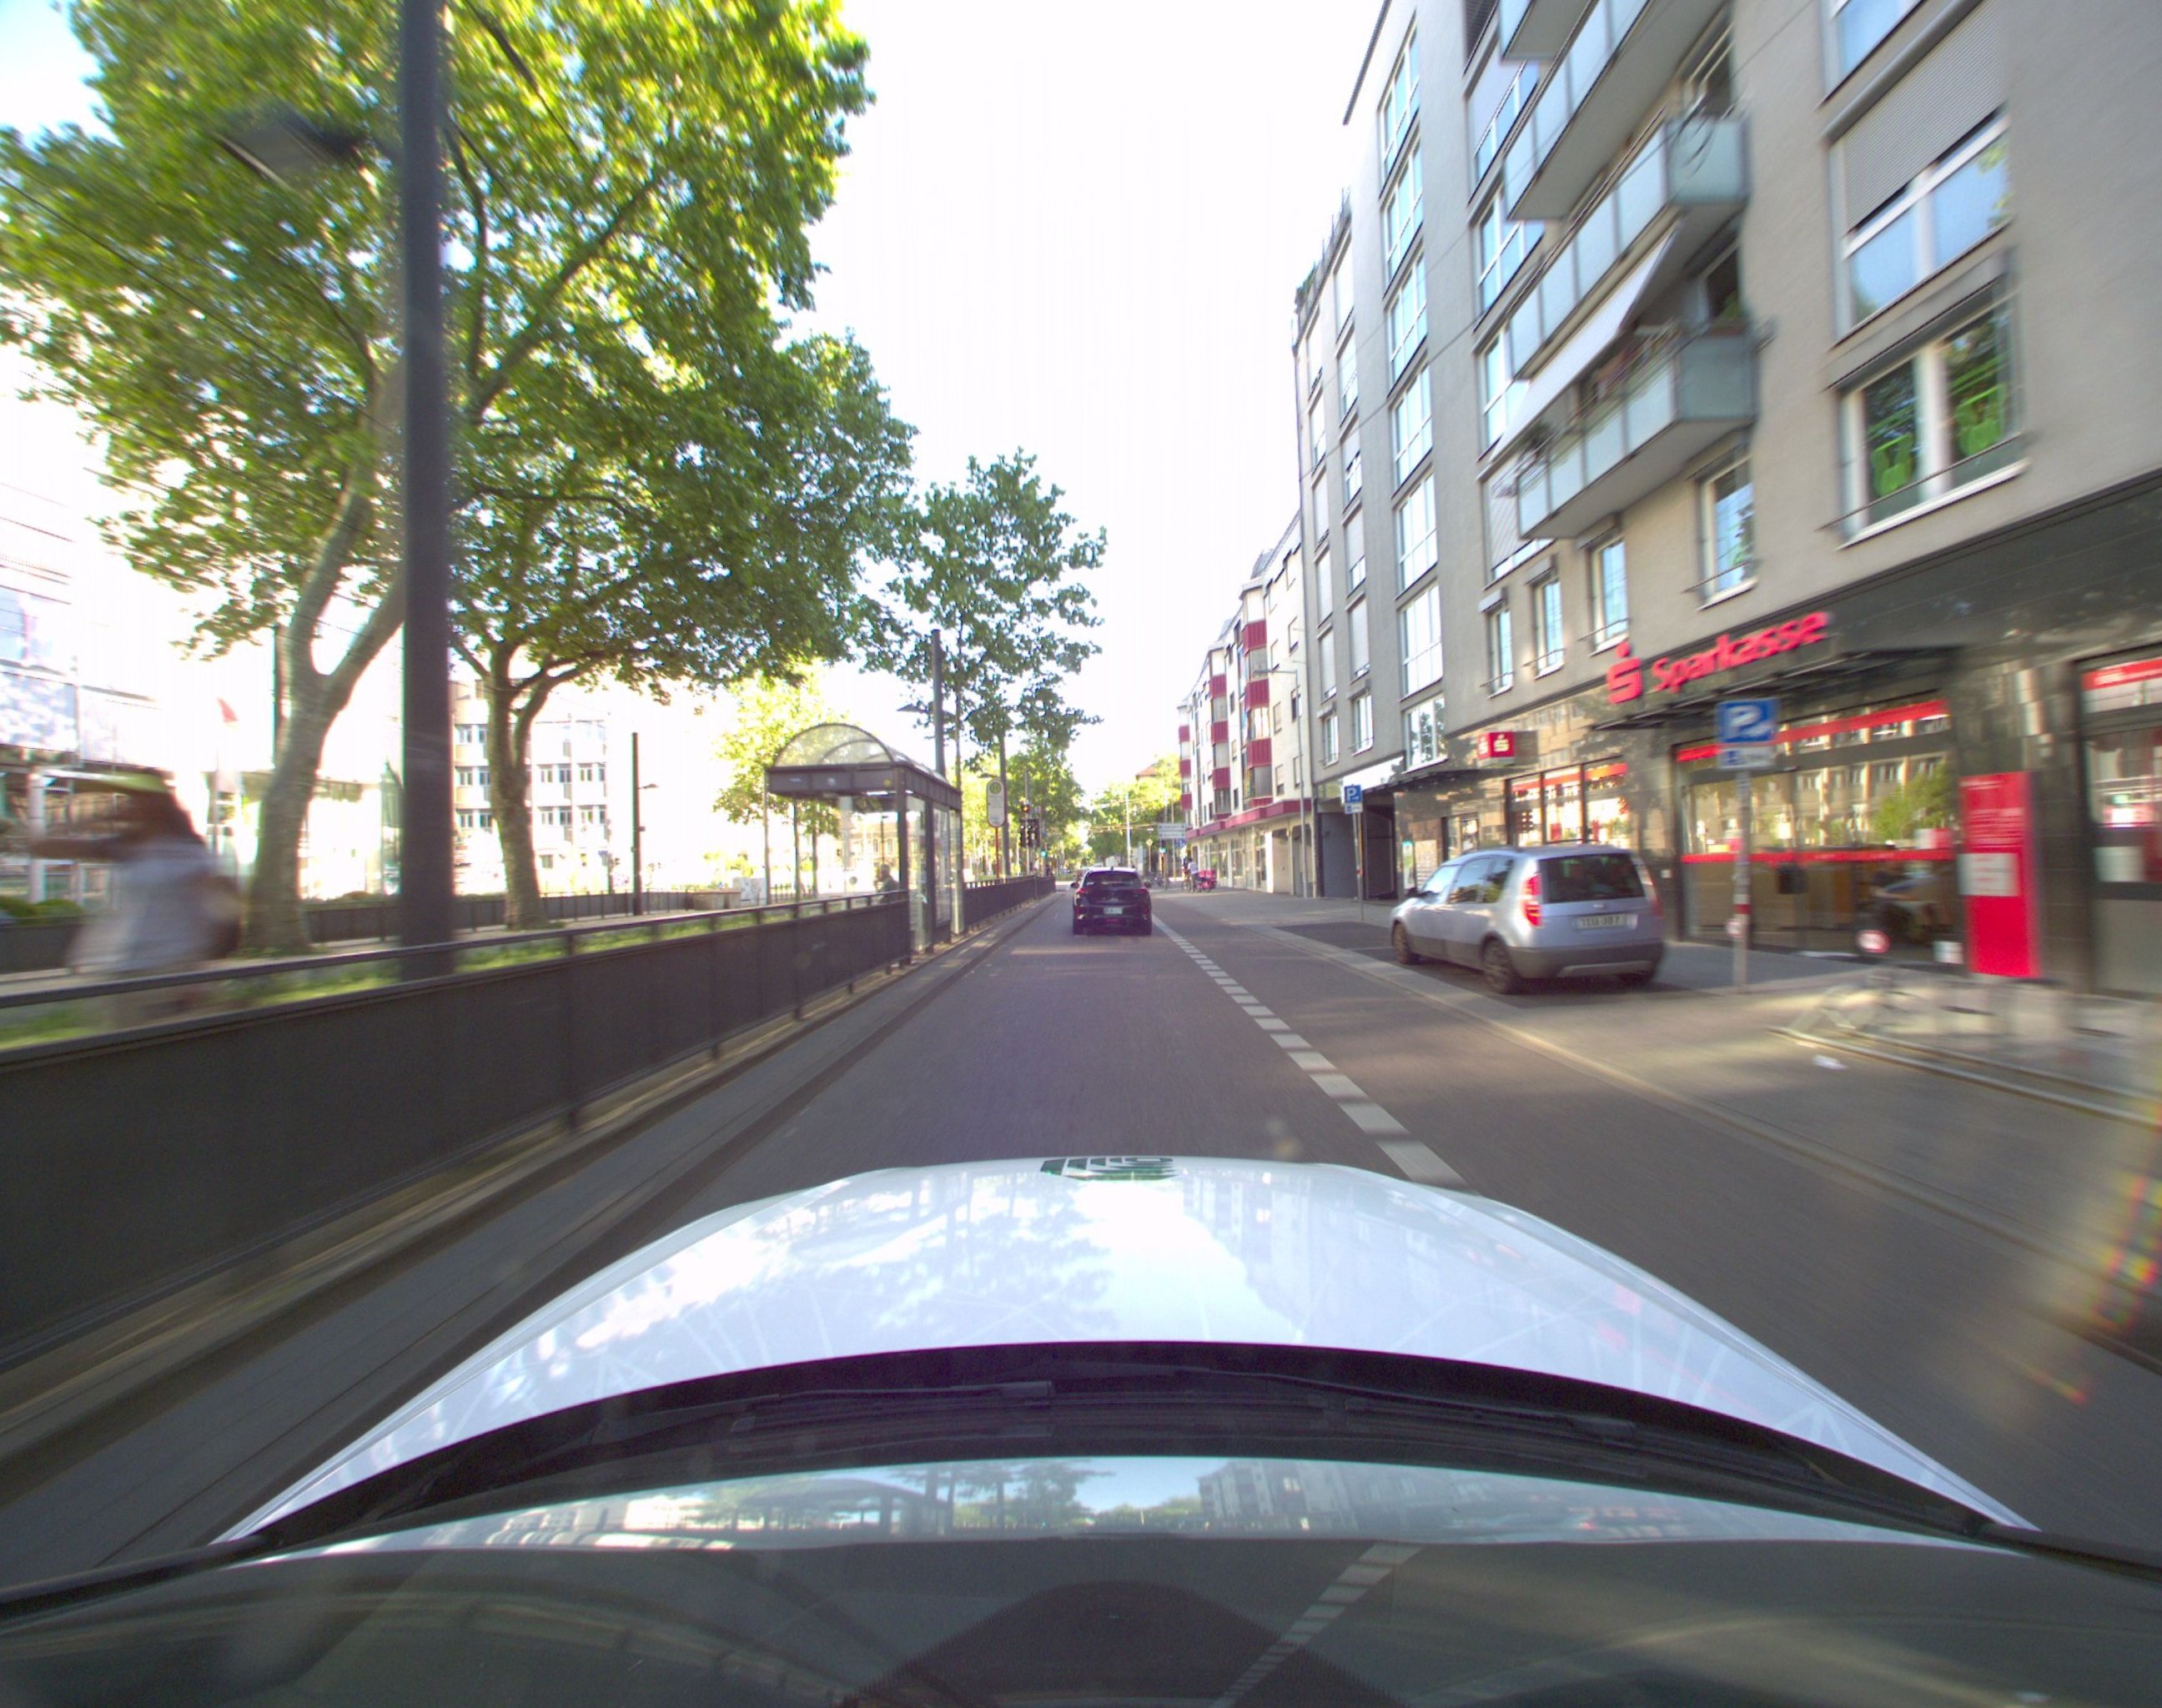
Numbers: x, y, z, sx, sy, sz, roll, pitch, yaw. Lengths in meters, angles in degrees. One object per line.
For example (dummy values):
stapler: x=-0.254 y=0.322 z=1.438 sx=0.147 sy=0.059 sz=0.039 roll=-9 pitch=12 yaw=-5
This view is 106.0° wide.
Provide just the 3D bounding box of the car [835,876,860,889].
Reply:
car: x=-33.598 y=4.111 z=117.453 sx=1.984 sy=1.703 sz=4.383 roll=-2 pitch=-1 yaw=5

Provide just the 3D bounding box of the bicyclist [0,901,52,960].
bicyclist: x=-24.183 y=1.707 z=18.031 sx=1.001 sy=1.250 sz=1.373 roll=0 pitch=-1 yaw=-2

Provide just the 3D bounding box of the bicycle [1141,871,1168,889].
bicycle: x=5.132 y=1.803 z=57.004 sx=1.823 sy=1.221 sz=0.496 roll=-2 pitch=-2 yaw=3

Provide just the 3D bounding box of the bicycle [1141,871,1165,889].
bicycle: x=5.092 y=1.832 z=57.575 sx=1.615 sy=1.199 sz=0.497 roll=-2 pitch=-2 yaw=4

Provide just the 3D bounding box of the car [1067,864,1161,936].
car: x=0.738 y=1.000 z=18.842 sx=1.898 sy=1.425 sz=4.216 roll=-2 pitch=-1 yaw=1

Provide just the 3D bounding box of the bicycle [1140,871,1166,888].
bicycle: x=5.133 y=1.818 z=58.329 sx=1.793 sy=1.200 sz=0.546 roll=-2 pitch=-3 yaw=4

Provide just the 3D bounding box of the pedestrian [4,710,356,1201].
pedestrian: x=-3.798 y=0.392 z=3.512 sx=0.643 sy=1.872 sz=0.753 roll=-1 pitch=-2 yaw=1

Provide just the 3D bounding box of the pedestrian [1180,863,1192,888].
pedestrian: x=7.945 y=1.626 z=61.687 sx=0.720 sy=1.858 sz=0.801 roll=-2 pitch=-2 yaw=0

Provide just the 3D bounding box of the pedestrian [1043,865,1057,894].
pedestrian: x=-1.883 y=1.585 z=49.918 sx=0.730 sy=1.747 sz=0.713 roll=-1 pitch=-1 yaw=5

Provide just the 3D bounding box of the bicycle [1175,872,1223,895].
bicycle: x=6.300 y=1.591 z=43.707 sx=0.968 sy=1.183 sz=2.569 roll=0 pitch=-2 yaw=-37

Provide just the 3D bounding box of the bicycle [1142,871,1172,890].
bicycle: x=5.193 y=1.809 z=55.514 sx=1.935 sy=1.170 sz=0.571 roll=-2 pitch=-2 yaw=-3

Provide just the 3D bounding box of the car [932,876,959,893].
car: x=-16.666 y=3.786 z=100.257 sx=1.983 sy=1.948 sz=4.432 roll=-2 pitch=-1 yaw=7

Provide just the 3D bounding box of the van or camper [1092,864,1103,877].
van or camper: x=3.847 y=3.786 z=186.215 sx=2.477 sy=2.994 sz=5.435 roll=0 pitch=-2 yaw=1

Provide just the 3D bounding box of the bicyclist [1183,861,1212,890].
bicyclist: x=6.252 y=1.163 z=43.765 sx=1.065 sy=1.540 sz=1.067 roll=0 pitch=-2 yaw=-37

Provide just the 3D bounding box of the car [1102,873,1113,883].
car: x=4.572 y=4.112 z=139.447 sx=1.784 sy=1.510 sz=3.873 roll=-3 pitch=-2 yaw=1

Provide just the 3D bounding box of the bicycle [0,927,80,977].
bicycle: x=-24.188 y=2.220 z=18.064 sx=0.798 sy=0.997 sz=2.584 roll=0 pitch=-1 yaw=-1

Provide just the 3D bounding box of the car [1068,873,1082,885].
car: x=-0.856 y=3.596 z=116.650 sx=1.987 sy=1.628 sz=4.468 roll=1 pitch=-2 yaw=0

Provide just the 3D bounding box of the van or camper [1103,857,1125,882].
van or camper: x=4.537 y=2.138 z=112.693 sx=2.368 sy=3.125 sz=7.547 roll=-4 pitch=-2 yaw=-1

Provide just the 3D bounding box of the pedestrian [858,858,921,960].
pedestrian: x=-2.591 y=0.732 z=11.103 sx=0.624 sy=1.319 sz=0.801 roll=-1 pitch=-2 yaw=1

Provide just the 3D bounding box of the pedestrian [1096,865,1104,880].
pedestrian: x=2.669 y=2.569 z=113.680 sx=1.033 sy=2.024 sz=1.212 roll=-1 pitch=-2 yaw=-1

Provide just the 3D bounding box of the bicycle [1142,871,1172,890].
bicycle: x=5.217 y=1.814 z=56.129 sx=1.973 sy=1.199 sz=0.590 roll=-2 pitch=-2 yaw=-4

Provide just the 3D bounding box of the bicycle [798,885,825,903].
bicycle: x=-15.608 y=2.311 z=47.211 sx=0.808 sy=0.946 sz=1.729 roll=-2 pitch=-1 yaw=7

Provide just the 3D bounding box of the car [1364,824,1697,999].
car: x=5.248 y=0.634 z=10.322 sx=1.826 sy=1.623 sz=4.285 roll=-4 pitch=-2 yaw=1

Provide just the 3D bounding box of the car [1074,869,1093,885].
car: x=0.324 y=2.378 z=84.318 sx=1.826 sy=1.623 sz=4.285 roll=1 pitch=-2 yaw=1

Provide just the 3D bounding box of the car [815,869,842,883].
car: x=-36.541 y=3.190 z=118.096 sx=1.984 sy=2.014 sz=4.731 roll=-2 pitch=-1 yaw=5
